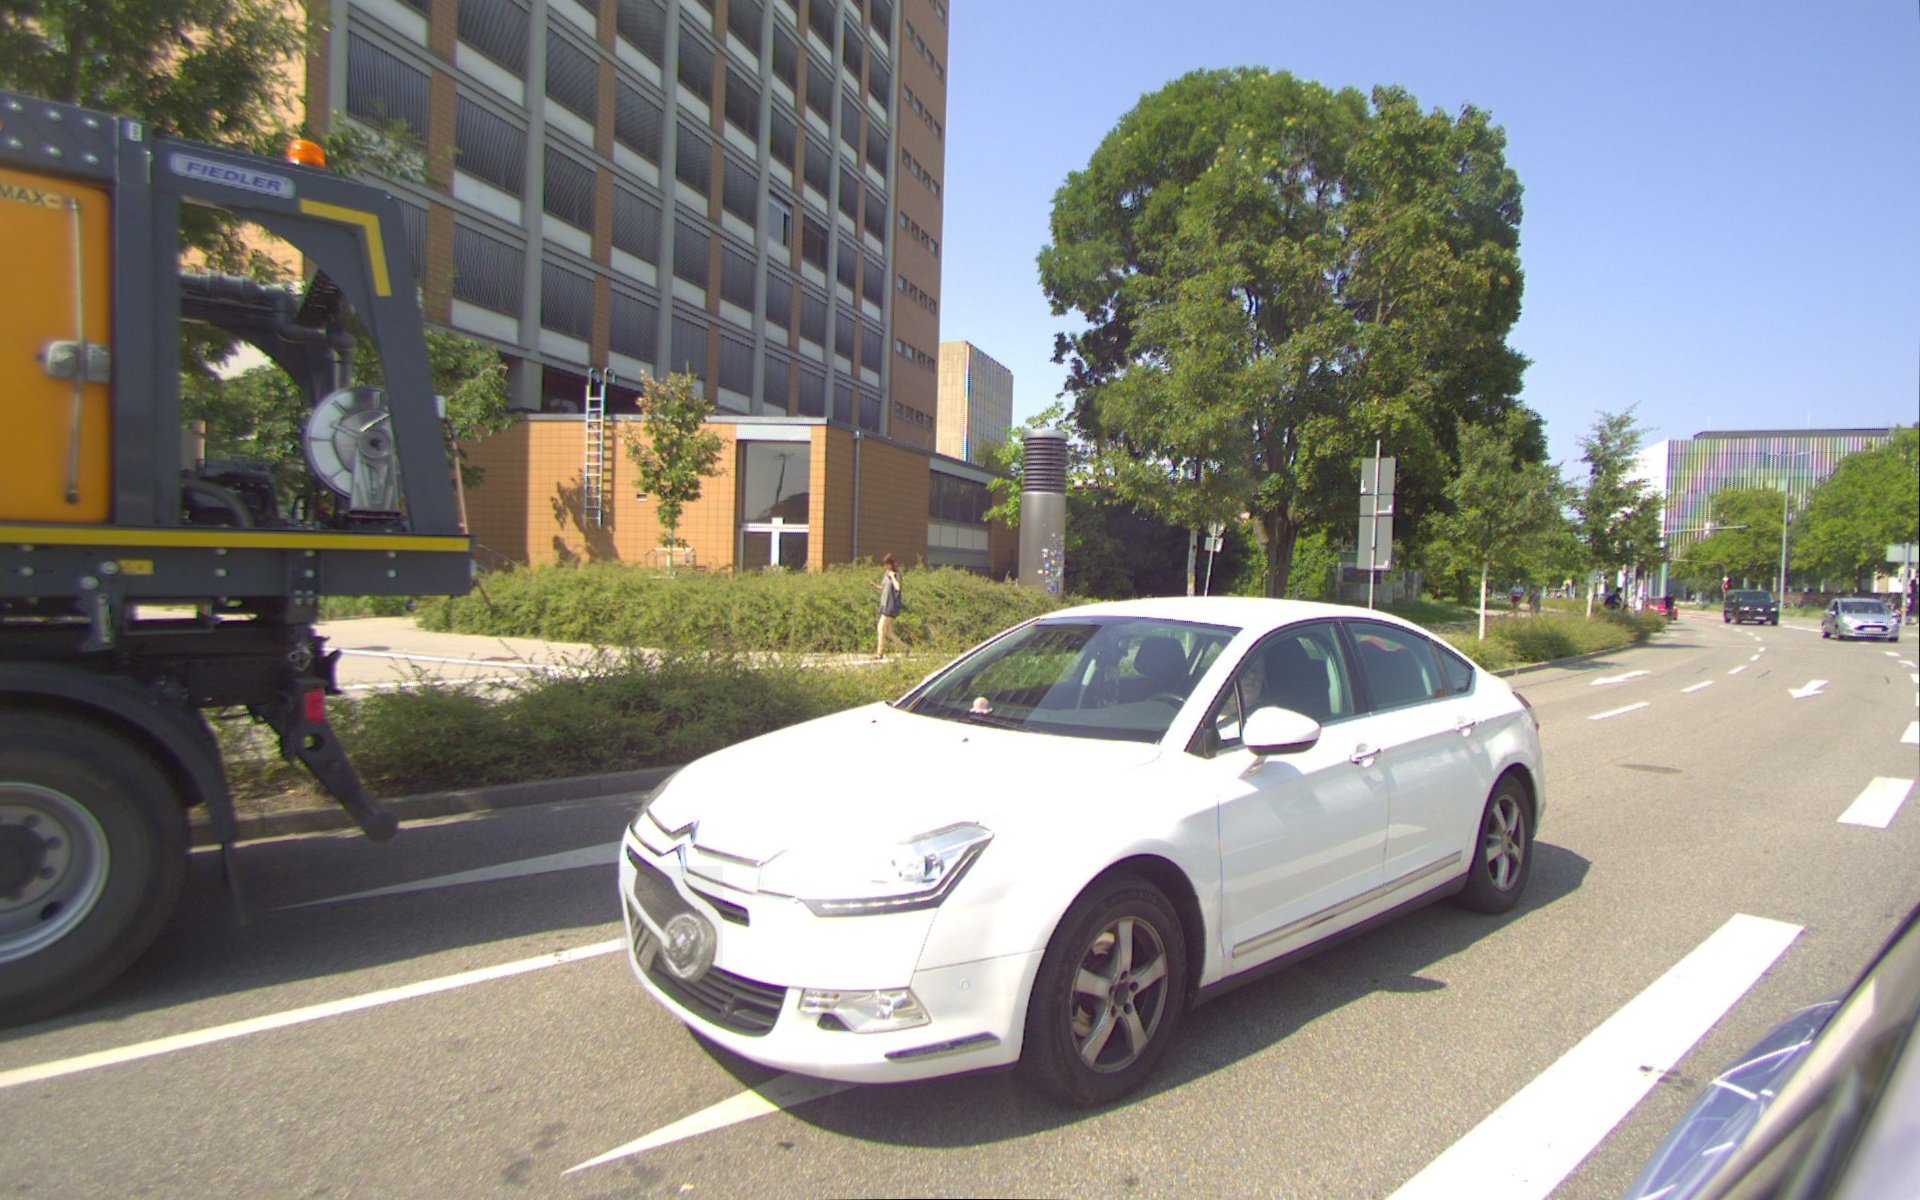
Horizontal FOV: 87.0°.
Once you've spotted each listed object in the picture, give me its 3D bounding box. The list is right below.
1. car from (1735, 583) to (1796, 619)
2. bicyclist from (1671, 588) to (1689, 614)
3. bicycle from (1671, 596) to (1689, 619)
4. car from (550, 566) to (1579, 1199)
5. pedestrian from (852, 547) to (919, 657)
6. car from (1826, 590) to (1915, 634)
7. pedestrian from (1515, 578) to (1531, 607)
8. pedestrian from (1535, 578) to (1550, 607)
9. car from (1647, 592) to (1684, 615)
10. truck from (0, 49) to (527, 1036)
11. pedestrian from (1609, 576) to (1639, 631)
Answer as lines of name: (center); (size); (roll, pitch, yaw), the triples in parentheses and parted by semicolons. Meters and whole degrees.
car: (45.234, 0.043, 56.936); (1.874, 1.943, 4.489); (1, 1, 28)
bicyclist: (39.976, 0.041, 56.179); (0.677, 1.417, 1.034); (2, 1, 41)
bicycle: (39.996, 0.406, 56.216); (0.592, 1.183, 2.203); (2, 2, 40)
car: (0.858, 0.635, 4.344); (4.529, 1.446, 1.772); (0, 2, -41)
pedestrian: (-1.204, 0.022, 16.321); (0.792, 1.720, 0.671); (1, 1, -41)
car: (33.916, 0.415, 37.816); (1.647, 1.550, 4.483); (0, 0, 31)
pedestrian: (26.085, -0.356, 46.898); (0.630, 1.315, 0.481); (0, 0, 32)
pedestrian: (26.742, -0.354, 46.476); (0.572, 1.315, 0.432); (0, 0, 32)
car: (45.490, 0.197, 65.335); (1.637, 1.449, 3.775); (1, 1, 30)
truck: (-5.240, -0.221, 3.133); (6.736, 3.173, 2.499); (0, 2, -39)
pedestrian: (23.806, 0.123, 36.308); (0.818, 1.926, 0.622); (2, 1, 37)
